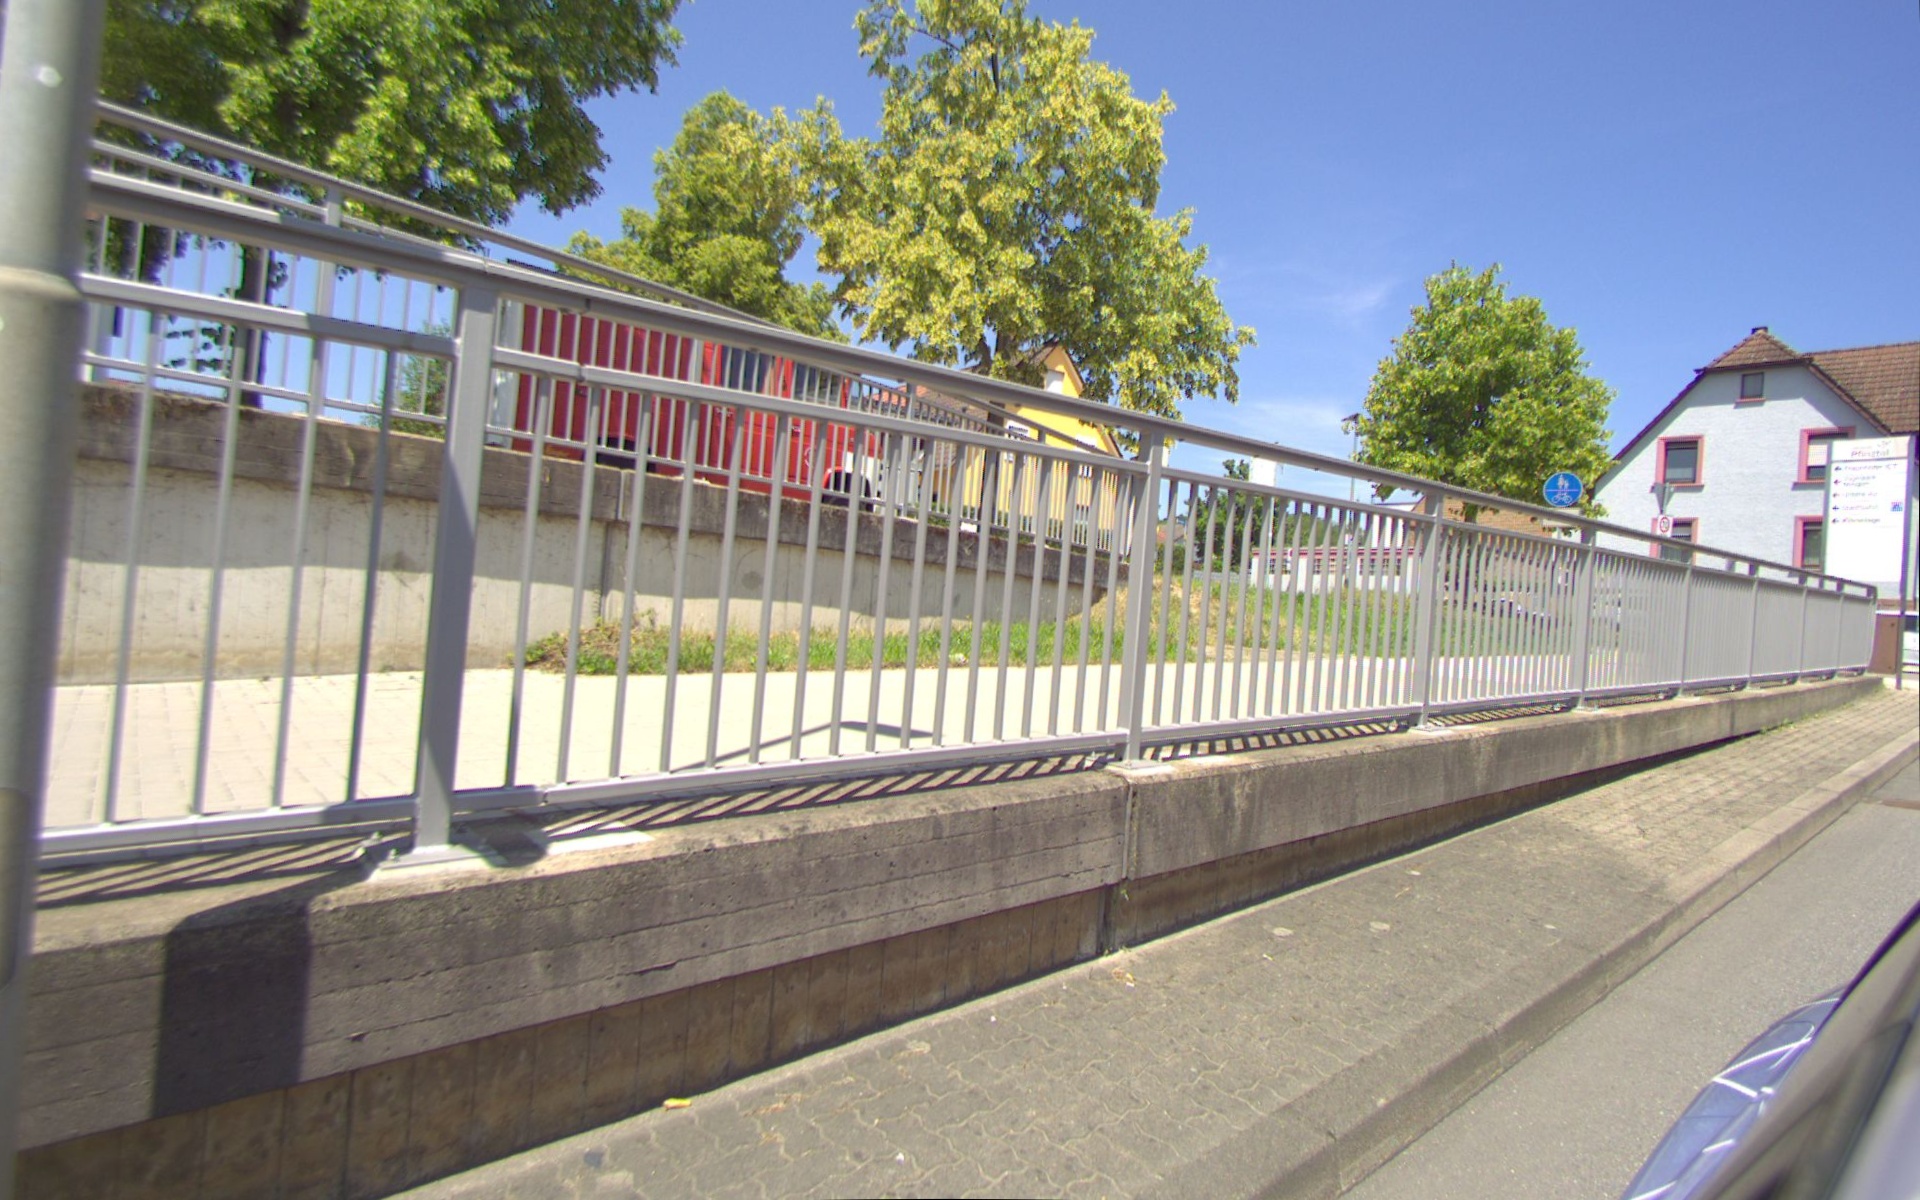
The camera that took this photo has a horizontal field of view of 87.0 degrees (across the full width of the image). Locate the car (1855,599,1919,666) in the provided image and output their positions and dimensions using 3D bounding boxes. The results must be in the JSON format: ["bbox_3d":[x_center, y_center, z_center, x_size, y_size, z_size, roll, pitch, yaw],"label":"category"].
[{"bbox_3d":[23.496,0.857,23.704,3.672,1.497,1.747,5,2,44],"label":"car"}]

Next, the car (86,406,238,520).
[{"bbox_3d":[-13.288,-2.178,16.854,1.726,1.496,3.948,4,1,-39],"label":"car"}]

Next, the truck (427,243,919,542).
[{"bbox_3d":[-3.223,-2.126,12.155,5.166,2.364,2.136,4,-1,-41],"label":"truck"}]

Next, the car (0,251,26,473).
[{"bbox_3d":[-7.655,-1.843,6.747,1.716,1.517,3.997,4,-1,-39],"label":"car"}]
